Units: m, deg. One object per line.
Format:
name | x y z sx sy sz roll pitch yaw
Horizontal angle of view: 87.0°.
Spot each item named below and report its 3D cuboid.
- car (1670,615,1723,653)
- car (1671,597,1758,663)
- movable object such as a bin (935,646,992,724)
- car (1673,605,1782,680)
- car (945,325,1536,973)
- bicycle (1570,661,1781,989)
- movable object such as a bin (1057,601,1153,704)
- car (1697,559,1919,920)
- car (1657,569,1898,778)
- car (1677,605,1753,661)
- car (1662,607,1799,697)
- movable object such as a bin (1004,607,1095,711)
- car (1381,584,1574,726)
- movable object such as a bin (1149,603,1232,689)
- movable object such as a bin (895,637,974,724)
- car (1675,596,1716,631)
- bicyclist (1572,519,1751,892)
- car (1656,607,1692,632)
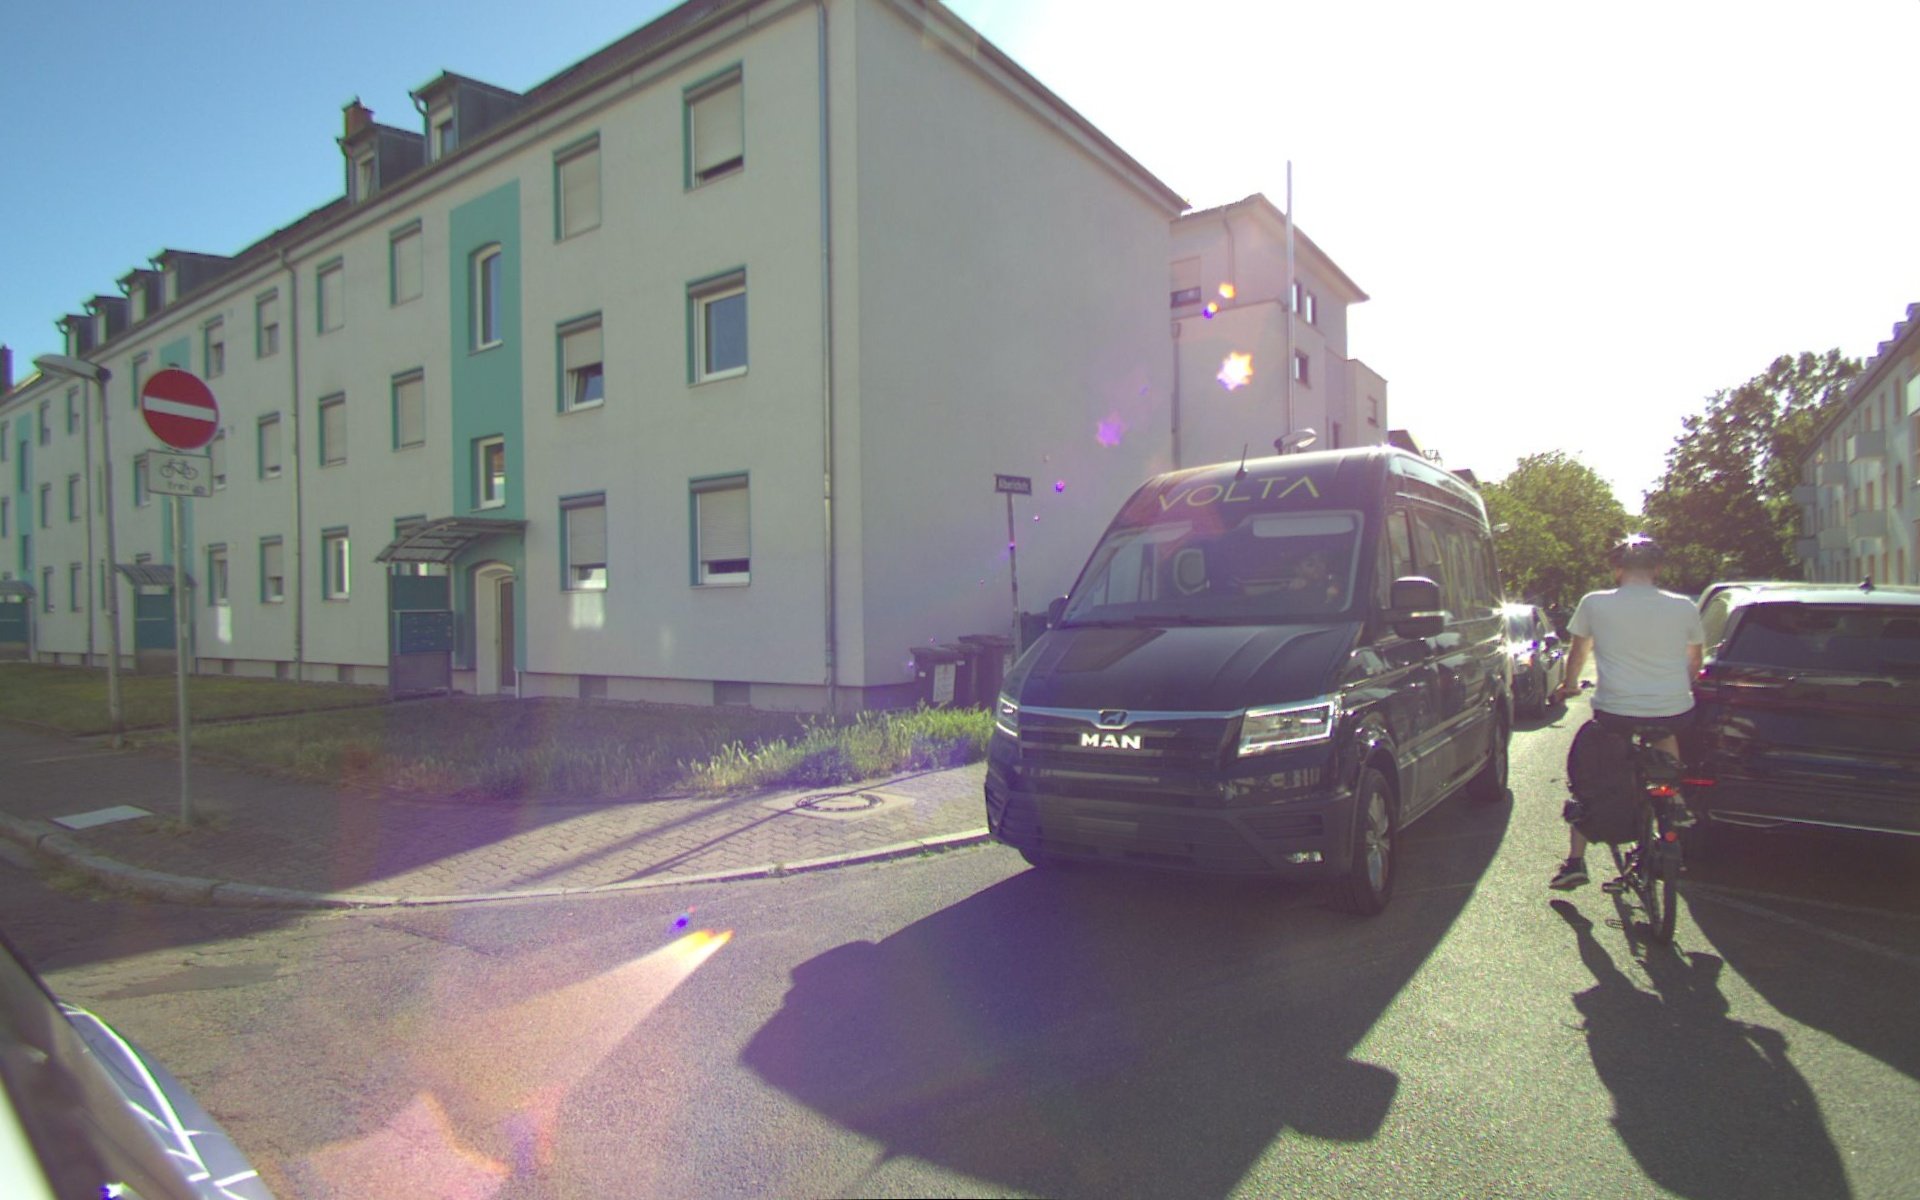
car | 34.145 1.590 46.889 1.783 1.670 3.521 -2 -3 39
car | 20.720 0.845 27.917 1.781 1.670 3.525 -2 -3 35
movable object such as a bin | 0.046 1.067 12.896 0.531 0.956 0.493 -2 -2 36
car | 17.117 0.949 22.708 1.781 1.537 3.525 -2 -3 35
car | 2.452 0.238 6.995 1.996 2.564 5.888 -2 -2 36
bicycle | 3.250 0.900 4.736 0.627 1.123 1.797 1 0 30
movable object such as a bin | 2.255 0.789 15.730 1.043 1.521 1.128 -2 -1 39
car | 5.821 0.684 6.473 1.716 1.676 4.449 0 -1 35
car | 8.539 0.663 10.850 1.716 1.802 3.956 0 -1 35
car | 23.839 1.051 32.069 1.781 1.670 3.525 -2 -3 35
car | 13.703 0.888 18.040 1.782 1.394 3.522 1 -1 38
movable object such as a bin | 1.296 0.822 14.519 0.846 1.411 1.052 -2 -1 38
car | 7.443 0.748 14.366 1.861 1.708 3.952 -2 -3 35
movable object such as a bin | 4.251 0.824 18.640 1.043 1.521 1.209 -2 -1 39
movable object such as a bin | -0.307 0.959 12.271 0.713 0.999 0.607 -2 -1 34
car | 43.371 0.821 59.666 1.783 1.922 3.521 -2 -3 39
bicyclist | 3.319 0.457 4.859 0.595 1.591 0.898 -1 -1 29
car | 60.213 1.700 85.285 1.999 2.029 3.944 -2 -3 42
